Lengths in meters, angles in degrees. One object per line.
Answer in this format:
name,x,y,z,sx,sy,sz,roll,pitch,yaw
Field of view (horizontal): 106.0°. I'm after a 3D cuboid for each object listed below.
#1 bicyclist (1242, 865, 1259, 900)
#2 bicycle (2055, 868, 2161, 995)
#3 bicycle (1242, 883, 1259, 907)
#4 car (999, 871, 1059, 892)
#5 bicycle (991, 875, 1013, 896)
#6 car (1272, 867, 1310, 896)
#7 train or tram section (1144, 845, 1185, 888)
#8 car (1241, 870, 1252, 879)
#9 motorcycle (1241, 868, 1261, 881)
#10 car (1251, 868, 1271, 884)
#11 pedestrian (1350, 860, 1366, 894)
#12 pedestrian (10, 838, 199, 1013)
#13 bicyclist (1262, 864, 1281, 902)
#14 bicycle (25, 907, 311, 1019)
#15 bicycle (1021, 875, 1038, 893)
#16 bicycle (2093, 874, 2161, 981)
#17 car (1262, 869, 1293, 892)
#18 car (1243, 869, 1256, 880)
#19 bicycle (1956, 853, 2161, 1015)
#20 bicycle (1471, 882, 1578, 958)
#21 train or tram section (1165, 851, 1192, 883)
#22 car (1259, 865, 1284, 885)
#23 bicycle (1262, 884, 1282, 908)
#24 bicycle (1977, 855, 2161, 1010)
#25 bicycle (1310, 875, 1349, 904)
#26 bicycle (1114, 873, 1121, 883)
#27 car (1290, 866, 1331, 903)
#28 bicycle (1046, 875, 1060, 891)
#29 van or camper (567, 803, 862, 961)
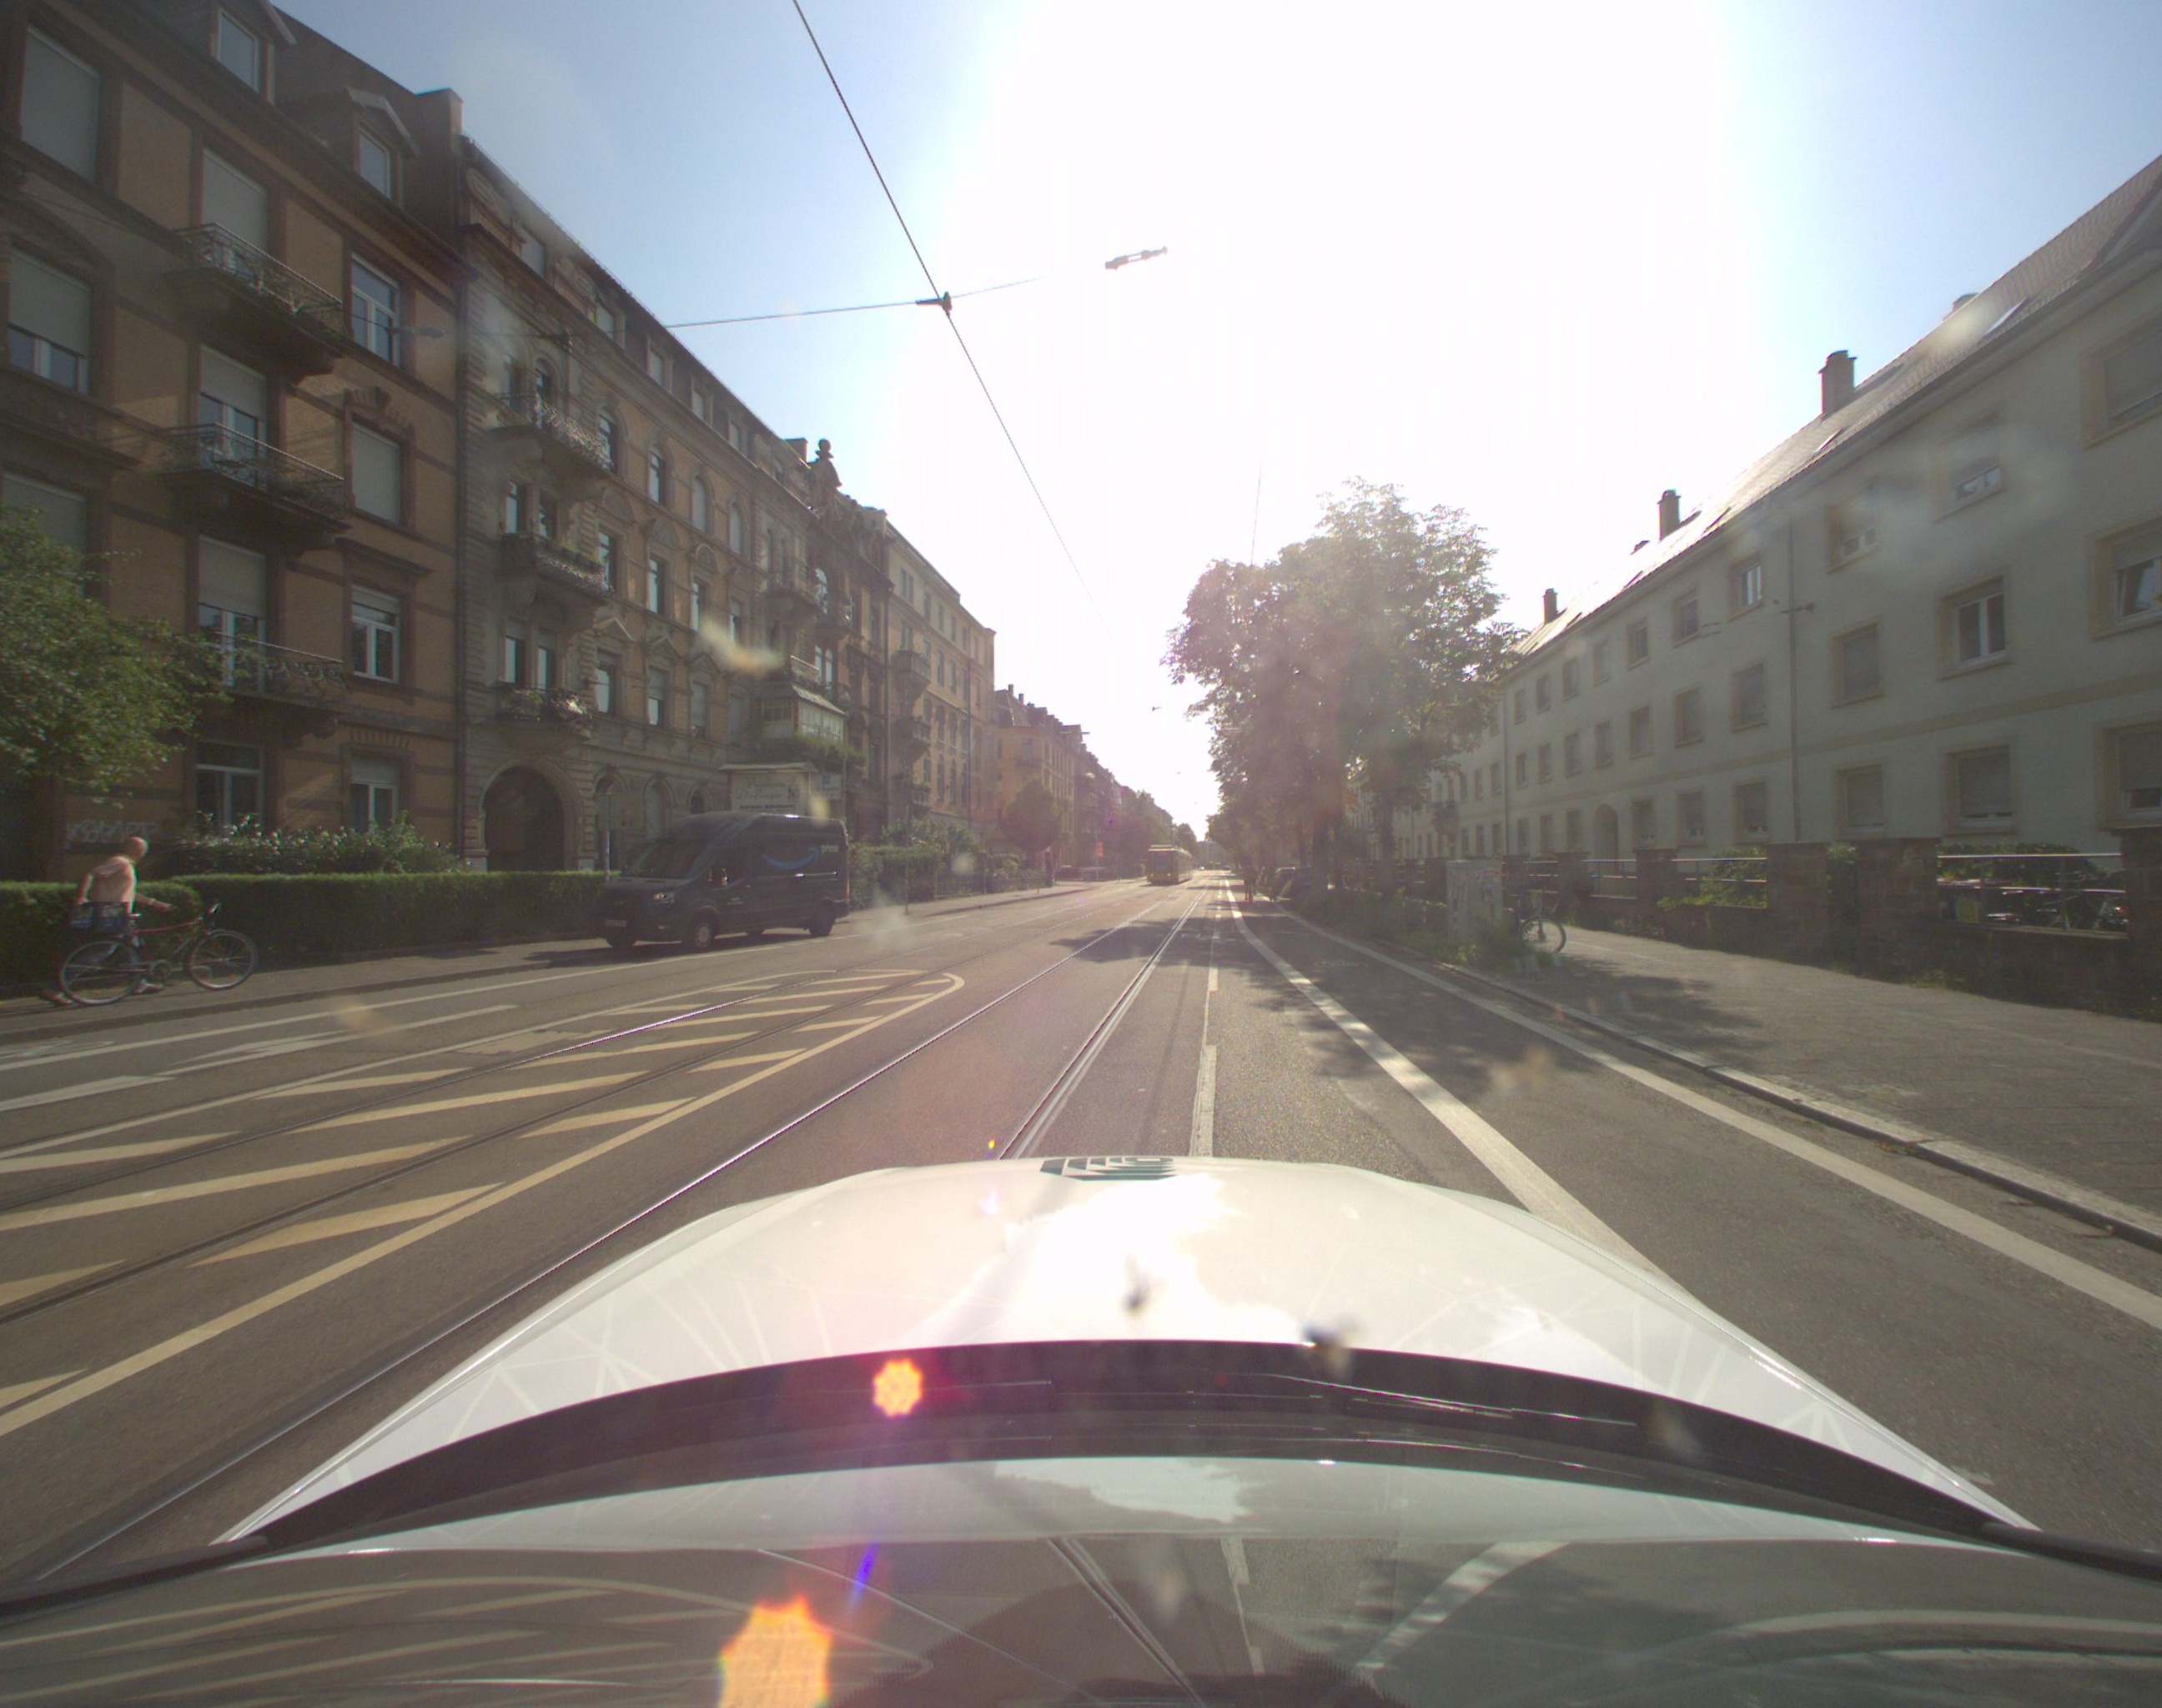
bicyclist,6.861,1.142,33.043,0.623,1.401,0.931,1,-1,9
bicycle,10.660,0.750,7.999,0.450,1.216,1.746,0,-1,14
bicycle,6.867,1.649,33.019,0.623,0.909,1.529,1,-1,9
car,-3.877,2.035,61.241,4.113,1.543,2.069,0,-2,9
bicycle,-4.324,1.719,44.642,0.602,1.058,1.845,3,-1,11
car,11.518,1.496,44.907,1.635,1.448,4.257,-3,-2,10
train or tram section,7.697,1.152,73.072,2.718,3.506,15.471,0,-1,9
car,28.205,3.452,139.082,1.761,1.473,3.984,-2,-2,10
motorcycle,22.262,2.696,106.685,0.918,1.674,2.393,-2,-2,-36
car,18.604,2.258,84.321,1.733,1.561,4.732,-2,-2,10
pedestrian,14.424,1.211,42.416,0.746,1.749,0.882,-1,-1,16
pedestrian,-10.743,0.753,9.011,0.723,1.806,1.095,-1,-1,8
bicyclist,7.736,1.171,33.051,0.650,1.474,0.911,1,-1,9
bicycle,-10.230,1.167,9.286,0.614,1.007,2.156,-1,-1,10
bicycle,-3.203,1.875,50.483,0.541,1.058,1.845,3,-1,11
bicycle,11.658,0.777,8.415,0.517,1.126,2.037,0,-1,20
car,13.378,1.786,55.676,1.679,1.435,4.347,-4,-2,9
car,25.249,3.094,122.273,1.716,1.505,3.995,-3,-2,10
bicycle,9.805,0.738,8.206,0.450,1.455,1.746,0,-1,14
bicycle,7.301,1.053,13.557,0.767,1.104,2.338,-1,-1,7
train or tram section,11.662,1.565,96.697,2.718,3.506,10.803,0,-1,9
car,15.393,1.723,66.028,1.679,1.502,4.106,-3,-2,9
bicycle,7.751,1.680,33.051,0.650,0.909,1.779,1,-1,9
bicycle,10.361,0.754,8.498,0.450,1.455,1.746,0,-1,14
bicycle,9.426,1.338,30.827,1.737,1.073,0.519,1,-2,-39
bicycle,4.183,2.692,92.072,0.505,1.108,2.009,-1,-2,10
car,10.457,1.364,37.154,1.633,1.540,3.857,-3,-2,15
bicycle,-1.983,2.051,57.418,0.541,1.058,1.845,3,-1,11
van or camper,-7.133,0.567,16.909,2.034,2.645,6.115,-2,-2,17
